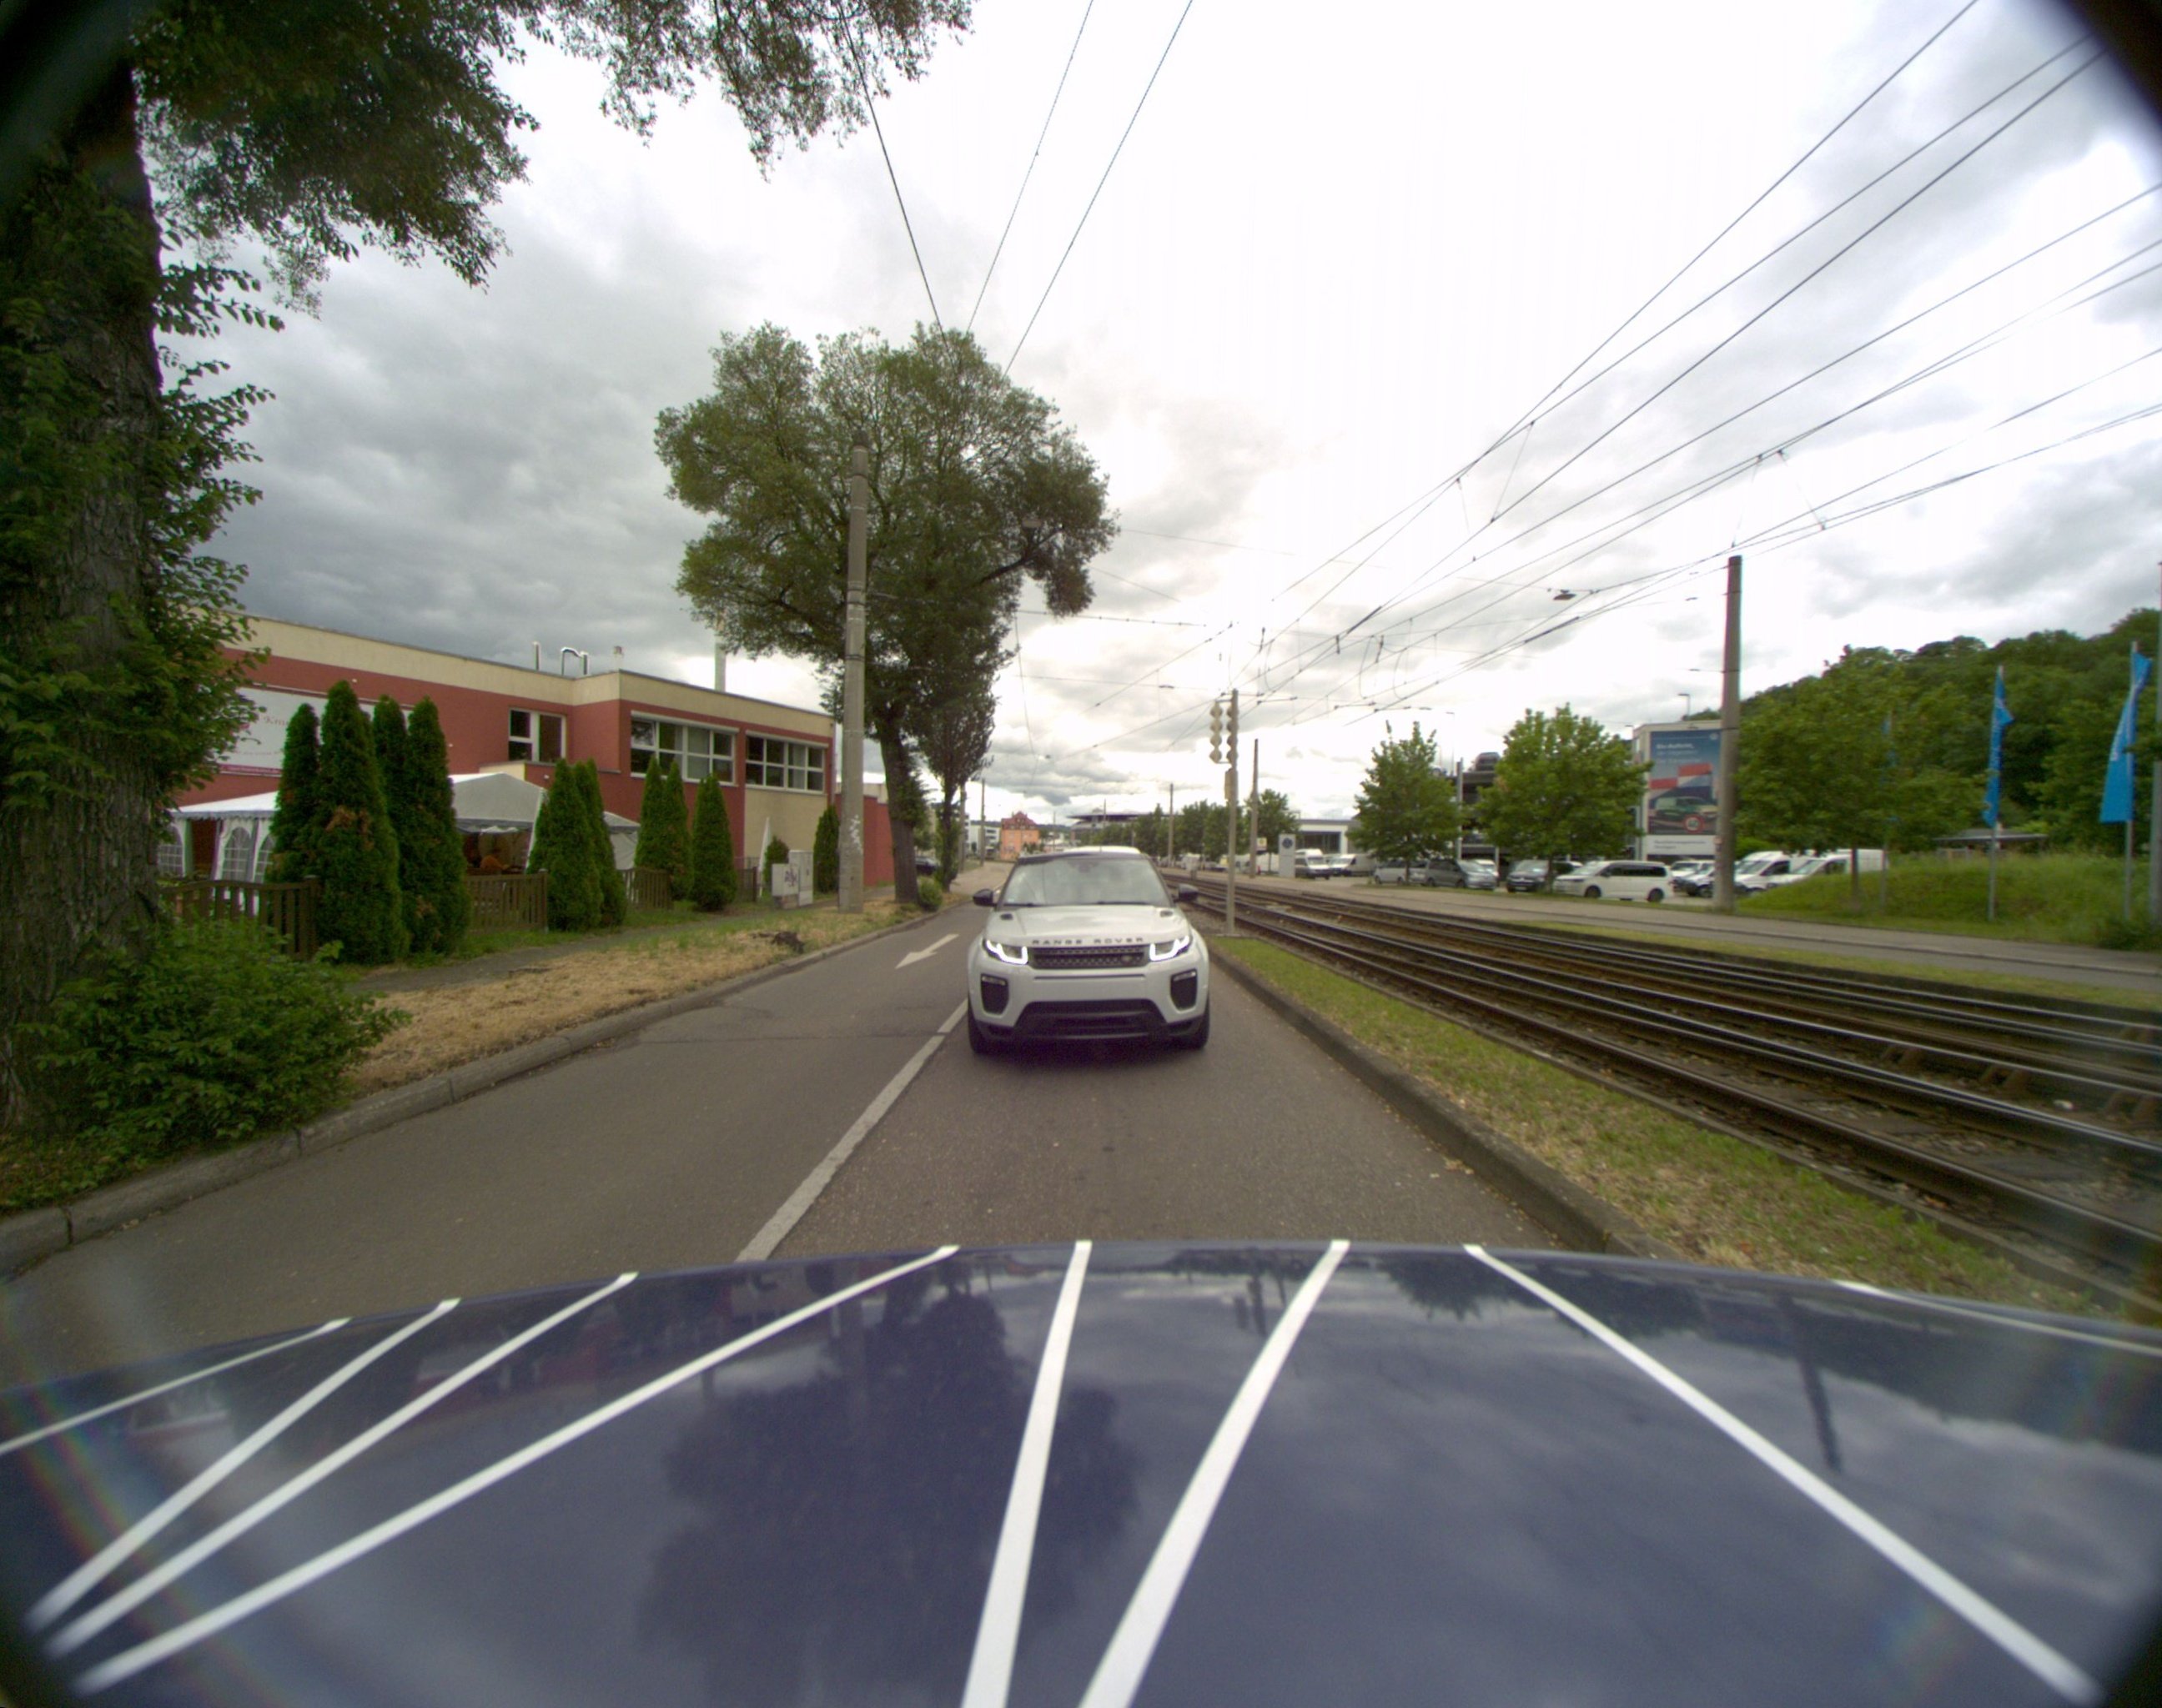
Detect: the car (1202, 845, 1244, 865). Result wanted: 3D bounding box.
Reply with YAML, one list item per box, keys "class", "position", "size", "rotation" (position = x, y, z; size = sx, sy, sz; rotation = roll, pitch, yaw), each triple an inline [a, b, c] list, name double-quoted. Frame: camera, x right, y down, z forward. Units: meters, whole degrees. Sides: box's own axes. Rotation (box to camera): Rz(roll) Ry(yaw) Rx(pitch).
- class: "car"
  position: [17.489, 0.138, 93.606]
  size: [4.639, 2.196, 2.107]
  rotation: [-2, 1, -8]

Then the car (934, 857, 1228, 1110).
- class: "car"
  position: [0.000, 0.890, 7.311]
  size: [1.998, 1.680, 4.268]
  rotation: [0, 1, 0]

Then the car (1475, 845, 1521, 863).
- class: "car"
  position: [47.171, -0.031, 86.033]
  size: [4.227, 1.826, 1.983]
  rotation: [-2, 1, 21]

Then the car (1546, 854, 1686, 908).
- class: "car"
  position: [25.263, 1.240, 35.994]
  size: [5.269, 2.254, 1.999]
  rotation: [-2, 1, -3]

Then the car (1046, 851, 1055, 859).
- class: "car"
  position: [-7.666, 0.309, 192.154]
  size: [2.000, 2.002, 3.997]
  rotation: [-2, 1, -7]

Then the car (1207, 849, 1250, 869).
- class: "car"
  position: [17.697, 0.603, 91.171]
  size: [4.639, 2.196, 2.107]
  rotation: [-2, 1, -8]

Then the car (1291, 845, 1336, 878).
- class: "car"
  position: [22.402, 0.674, 73.589]
  size: [2.320, 2.994, 6.157]
  rotation: [-2, 1, 0]

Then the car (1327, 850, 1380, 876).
- class: "car"
  position: [30.324, 0.972, 84.560]
  size: [6.057, 2.608, 2.316]
  rotation: [-3, 1, -34]

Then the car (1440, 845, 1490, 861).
- class: "car"
  position: [46.336, -0.113, 91.795]
  size: [5.216, 1.826, 1.983]
  rotation: [-2, 1, 21]

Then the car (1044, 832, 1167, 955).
- class: "car"
  position: [0.386, 0.622, 14.897]
  size: [1.999, 1.990, 5.033]
  rotation: [0, 1, 0]

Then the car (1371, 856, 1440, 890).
- class: "car"
  position: [22.129, 1.247, 52.099]
  size: [2.142, 2.104, 4.772]
  rotation: [-2, 1, -8]

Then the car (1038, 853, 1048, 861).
- class: "car"
  position: [-9.158, 0.711, 180.877]
  size: [2.000, 2.002, 3.997]
  rotation: [-2, 1, -7]

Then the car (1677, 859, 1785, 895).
- class: "car"
  position: [36.657, 1.284, 42.981]
  size: [4.228, 1.826, 1.983]
  rotation: [-2, 1, 19]

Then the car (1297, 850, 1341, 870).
- class: "car"
  position: [29.117, 0.717, 93.023]
  size: [4.636, 2.196, 2.108]
  rotation: [-2, 1, -1]

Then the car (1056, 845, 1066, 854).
- class: "car"
  position: [-4.642, -1.054, 178.507]
  size: [2.000, 2.002, 3.997]
  rotation: [-2, 1, -7]

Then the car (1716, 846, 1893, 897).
- class: "car"
  position: [34.923, 0.858, 36.925]
  size: [5.839, 2.254, 2.056]
  rotation: [-2, 1, 22]

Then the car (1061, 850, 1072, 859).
- class: "car"
  position: [-3.314, 0.103, 172.216]
  size: [2.000, 2.002, 3.997]
  rotation: [-2, 1, -7]

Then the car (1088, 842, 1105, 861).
- class: "car"
  position: [2.530, -0.495, 123.293]
  size: [2.410, 2.931, 4.747]
  rotation: [-2, 1, -2]

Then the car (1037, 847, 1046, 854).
- class: "car"
  position: [-10.642, -0.969, 205.065]
  size: [2.000, 2.002, 3.997]
  rotation: [-2, 1, -7]

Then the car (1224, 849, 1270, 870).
- class: "car"
  position: [18.792, 0.636, 86.086]
  size: [4.639, 2.196, 2.107]
  rotation: [-2, 1, -8]

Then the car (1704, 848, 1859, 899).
- class: "car"
  position: [36.643, 1.008, 39.963]
  size: [5.652, 2.446, 1.983]
  rotation: [-2, 1, 19]

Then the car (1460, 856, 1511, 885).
- class: "car"
  position: [28.881, 1.147, 54.404]
  size: [1.900, 1.882, 4.600]
  rotation: [-2, 1, 12]

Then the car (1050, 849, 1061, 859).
- class: "car"
  position: [-5.686, 0.037, 166.686]
  size: [2.000, 2.002, 3.997]
  rotation: [-2, 1, -7]

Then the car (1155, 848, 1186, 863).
- class: "car"
  position: [14.479, 0.291, 122.915]
  size: [4.639, 2.196, 2.107]
  rotation: [-2, 1, -8]

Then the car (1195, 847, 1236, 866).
- class: "car"
  position: [17.068, 0.318, 96.391]
  size: [4.639, 2.196, 2.107]
  rotation: [-2, 1, -8]

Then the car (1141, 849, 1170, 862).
- class: "car"
  position: [13.008, 0.237, 132.832]
  size: [4.639, 2.196, 2.107]
  rotation: [-2, 1, -8]

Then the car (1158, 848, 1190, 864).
- class: "car"
  position: [14.756, 0.308, 120.480]
  size: [4.639, 2.196, 2.107]
  rotation: [-2, 1, -8]

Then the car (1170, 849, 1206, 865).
- class: "car"
  position: [15.536, 0.390, 110.548]
  size: [4.639, 2.196, 2.107]
  rotation: [-2, 1, -8]

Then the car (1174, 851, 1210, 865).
- class: "car"
  position: [15.767, 0.591, 108.143]
  size: [4.639, 1.829, 2.107]
  rotation: [-2, 1, -8]

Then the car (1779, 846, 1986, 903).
- class: "car"
  position: [34.676, 0.911, 33.123]
  size: [5.850, 2.254, 2.056]
  rotation: [-2, 1, 22]

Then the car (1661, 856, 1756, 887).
- class: "car"
  position: [39.877, 1.106, 48.393]
  size: [4.228, 1.826, 1.983]
  rotation: [-2, 1, 19]

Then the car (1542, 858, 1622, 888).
- class: "car"
  position: [34.401, 1.301, 52.312]
  size: [4.228, 1.826, 1.983]
  rotation: [-2, 1, 19]

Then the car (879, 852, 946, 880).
- class: "car"
  position: [-10.962, 0.764, 49.559]
  size: [3.999, 1.636, 1.895]
  rotation: [-2, 1, -6]

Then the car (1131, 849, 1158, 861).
- class: "car"
  position: [11.843, 0.186, 141.315]
  size: [4.639, 2.196, 2.107]
  rotation: [-2, 1, -8]

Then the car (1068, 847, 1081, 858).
- class: "car"
  position: [-1.302, -0.319, 142.829]
  size: [2.000, 2.002, 3.997]
  rotation: [-2, 1, -7]

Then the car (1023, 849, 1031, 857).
- class: "car"
  position: [-14.586, -0.302, 205.922]
  size: [2.000, 2.002, 3.997]
  rotation: [-2, 1, -7]

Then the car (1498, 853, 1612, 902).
- class: "car"
  position: [24.682, 1.194, 39.661]
  size: [4.774, 2.254, 1.979]
  rotation: [-2, 1, -3]

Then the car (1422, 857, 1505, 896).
- class: "car"
  position: [22.985, 1.282, 45.870]
  size: [2.142, 2.104, 4.773]
  rotation: [-2, 1, -7]
